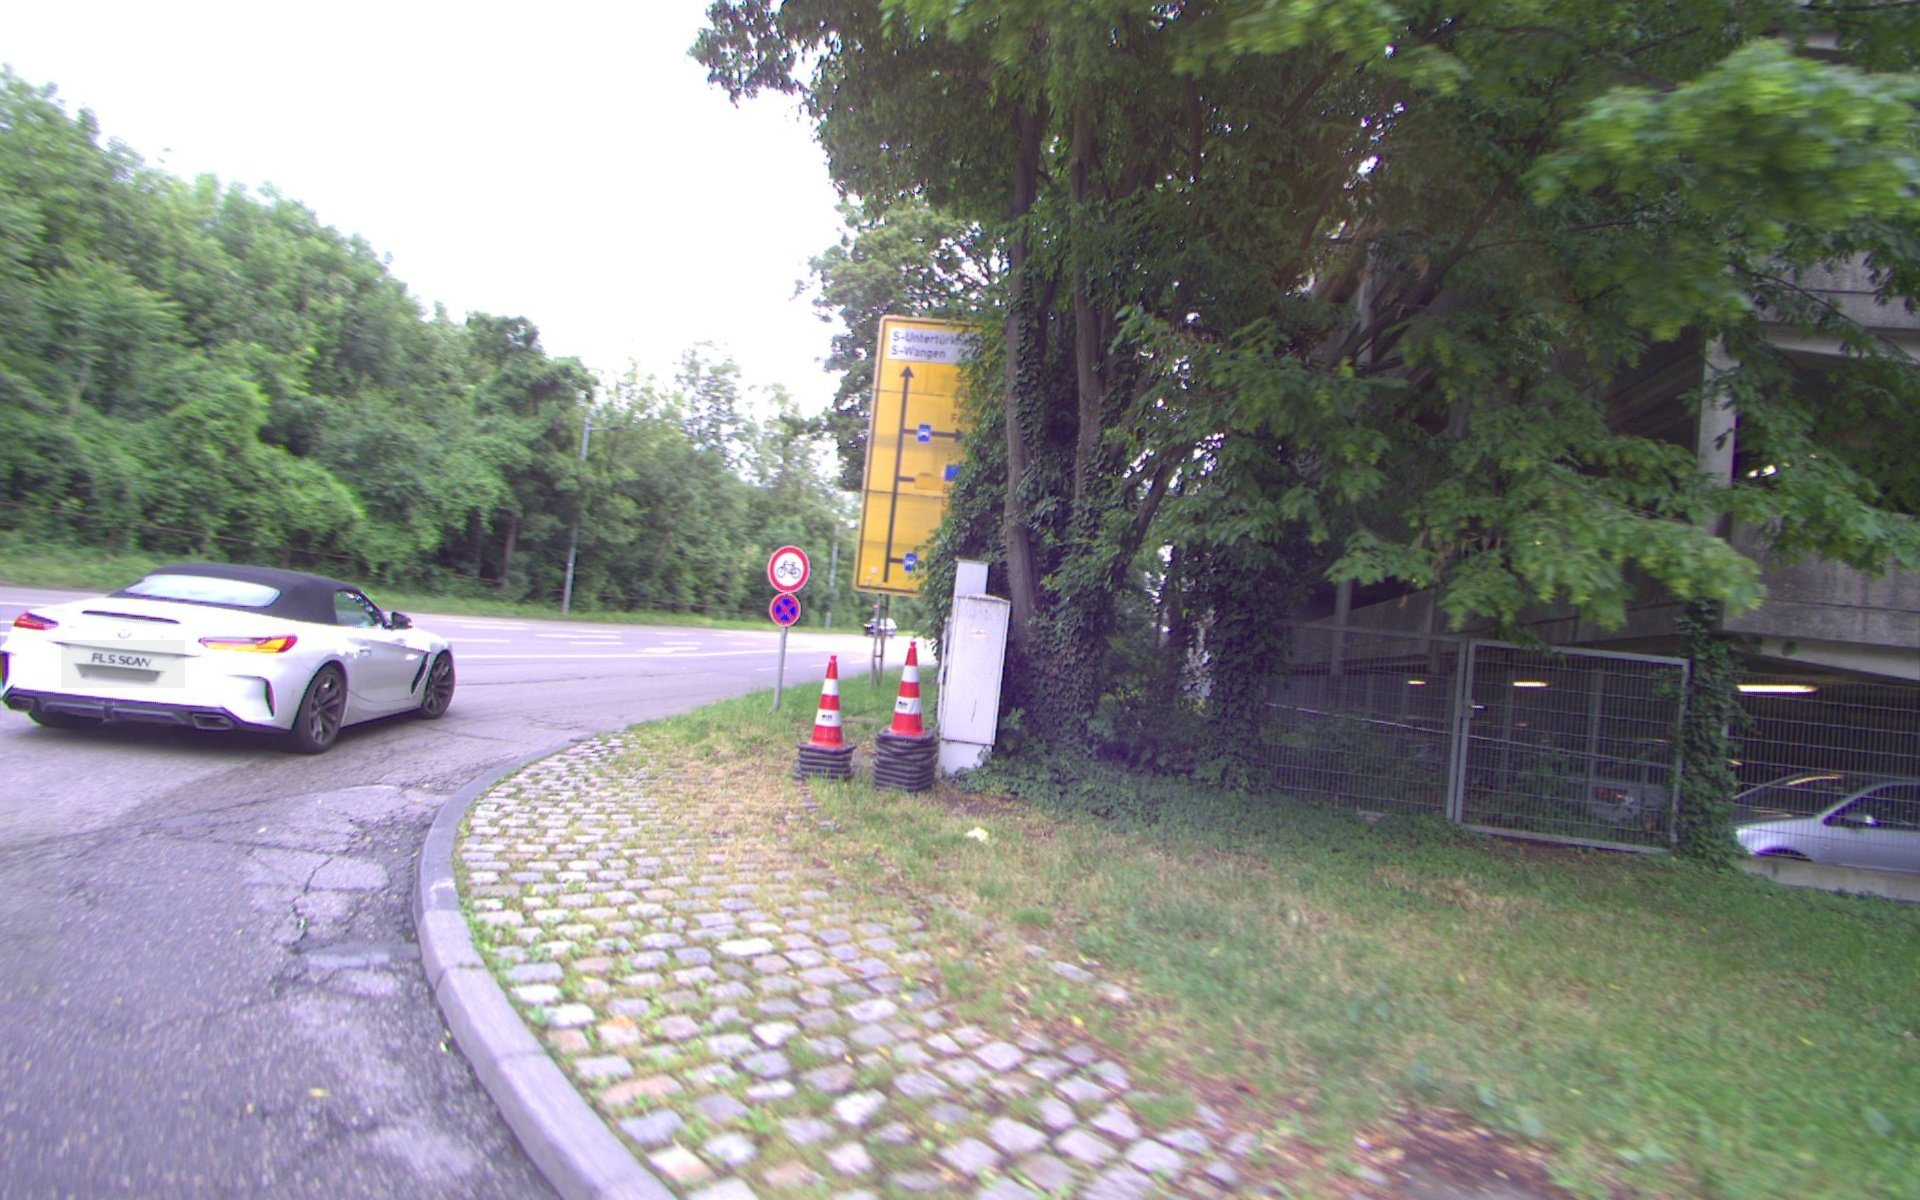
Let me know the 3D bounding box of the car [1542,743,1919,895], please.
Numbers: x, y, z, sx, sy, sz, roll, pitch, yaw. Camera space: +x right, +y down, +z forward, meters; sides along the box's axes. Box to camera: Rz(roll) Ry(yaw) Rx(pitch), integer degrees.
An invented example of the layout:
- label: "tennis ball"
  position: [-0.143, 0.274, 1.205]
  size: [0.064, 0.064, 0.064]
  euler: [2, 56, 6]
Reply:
- label: "car"
  position: [9.720, 2.704, 12.797]
  size: [3.571, 1.175, 1.625]
  euler: [7, -2, 10]

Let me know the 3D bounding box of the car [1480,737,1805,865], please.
- label: "car"
  position: [10.011, 2.927, 15.015]
  size: [3.571, 1.175, 1.625]
  euler: [7, -2, 10]

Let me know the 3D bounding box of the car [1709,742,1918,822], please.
- label: "car"
  position: [23.653, 5.020, 28.029]
  size: [3.994, 1.505, 1.828]
  euler: [6, -2, 7]

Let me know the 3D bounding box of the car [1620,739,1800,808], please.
- label: "car"
  position: [23.126, 5.324, 31.147]
  size: [3.994, 1.432, 1.828]
  euler: [6, -2, 7]

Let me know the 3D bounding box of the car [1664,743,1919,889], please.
- label: "car"
  position: [9.549, 2.309, 10.487]
  size: [3.192, 1.099, 1.541]
  euler: [7, -2, 9]

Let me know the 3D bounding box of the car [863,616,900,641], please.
- label: "car"
  position: [-6.459, 2.357, 83.462]
  size: [1.793, 1.672, 4.228]
  euler: [8, -2, 11]

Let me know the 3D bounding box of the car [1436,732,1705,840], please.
- label: "car"
  position: [10.468, 3.173, 17.501]
  size: [3.571, 1.175, 1.625]
  euler: [7, -2, 10]

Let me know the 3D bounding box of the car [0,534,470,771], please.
- label: "car"
  position: [-5.730, 0.386, 8.361]
  size: [1.850, 1.324, 3.869]
  euler: [7, -2, -10]
